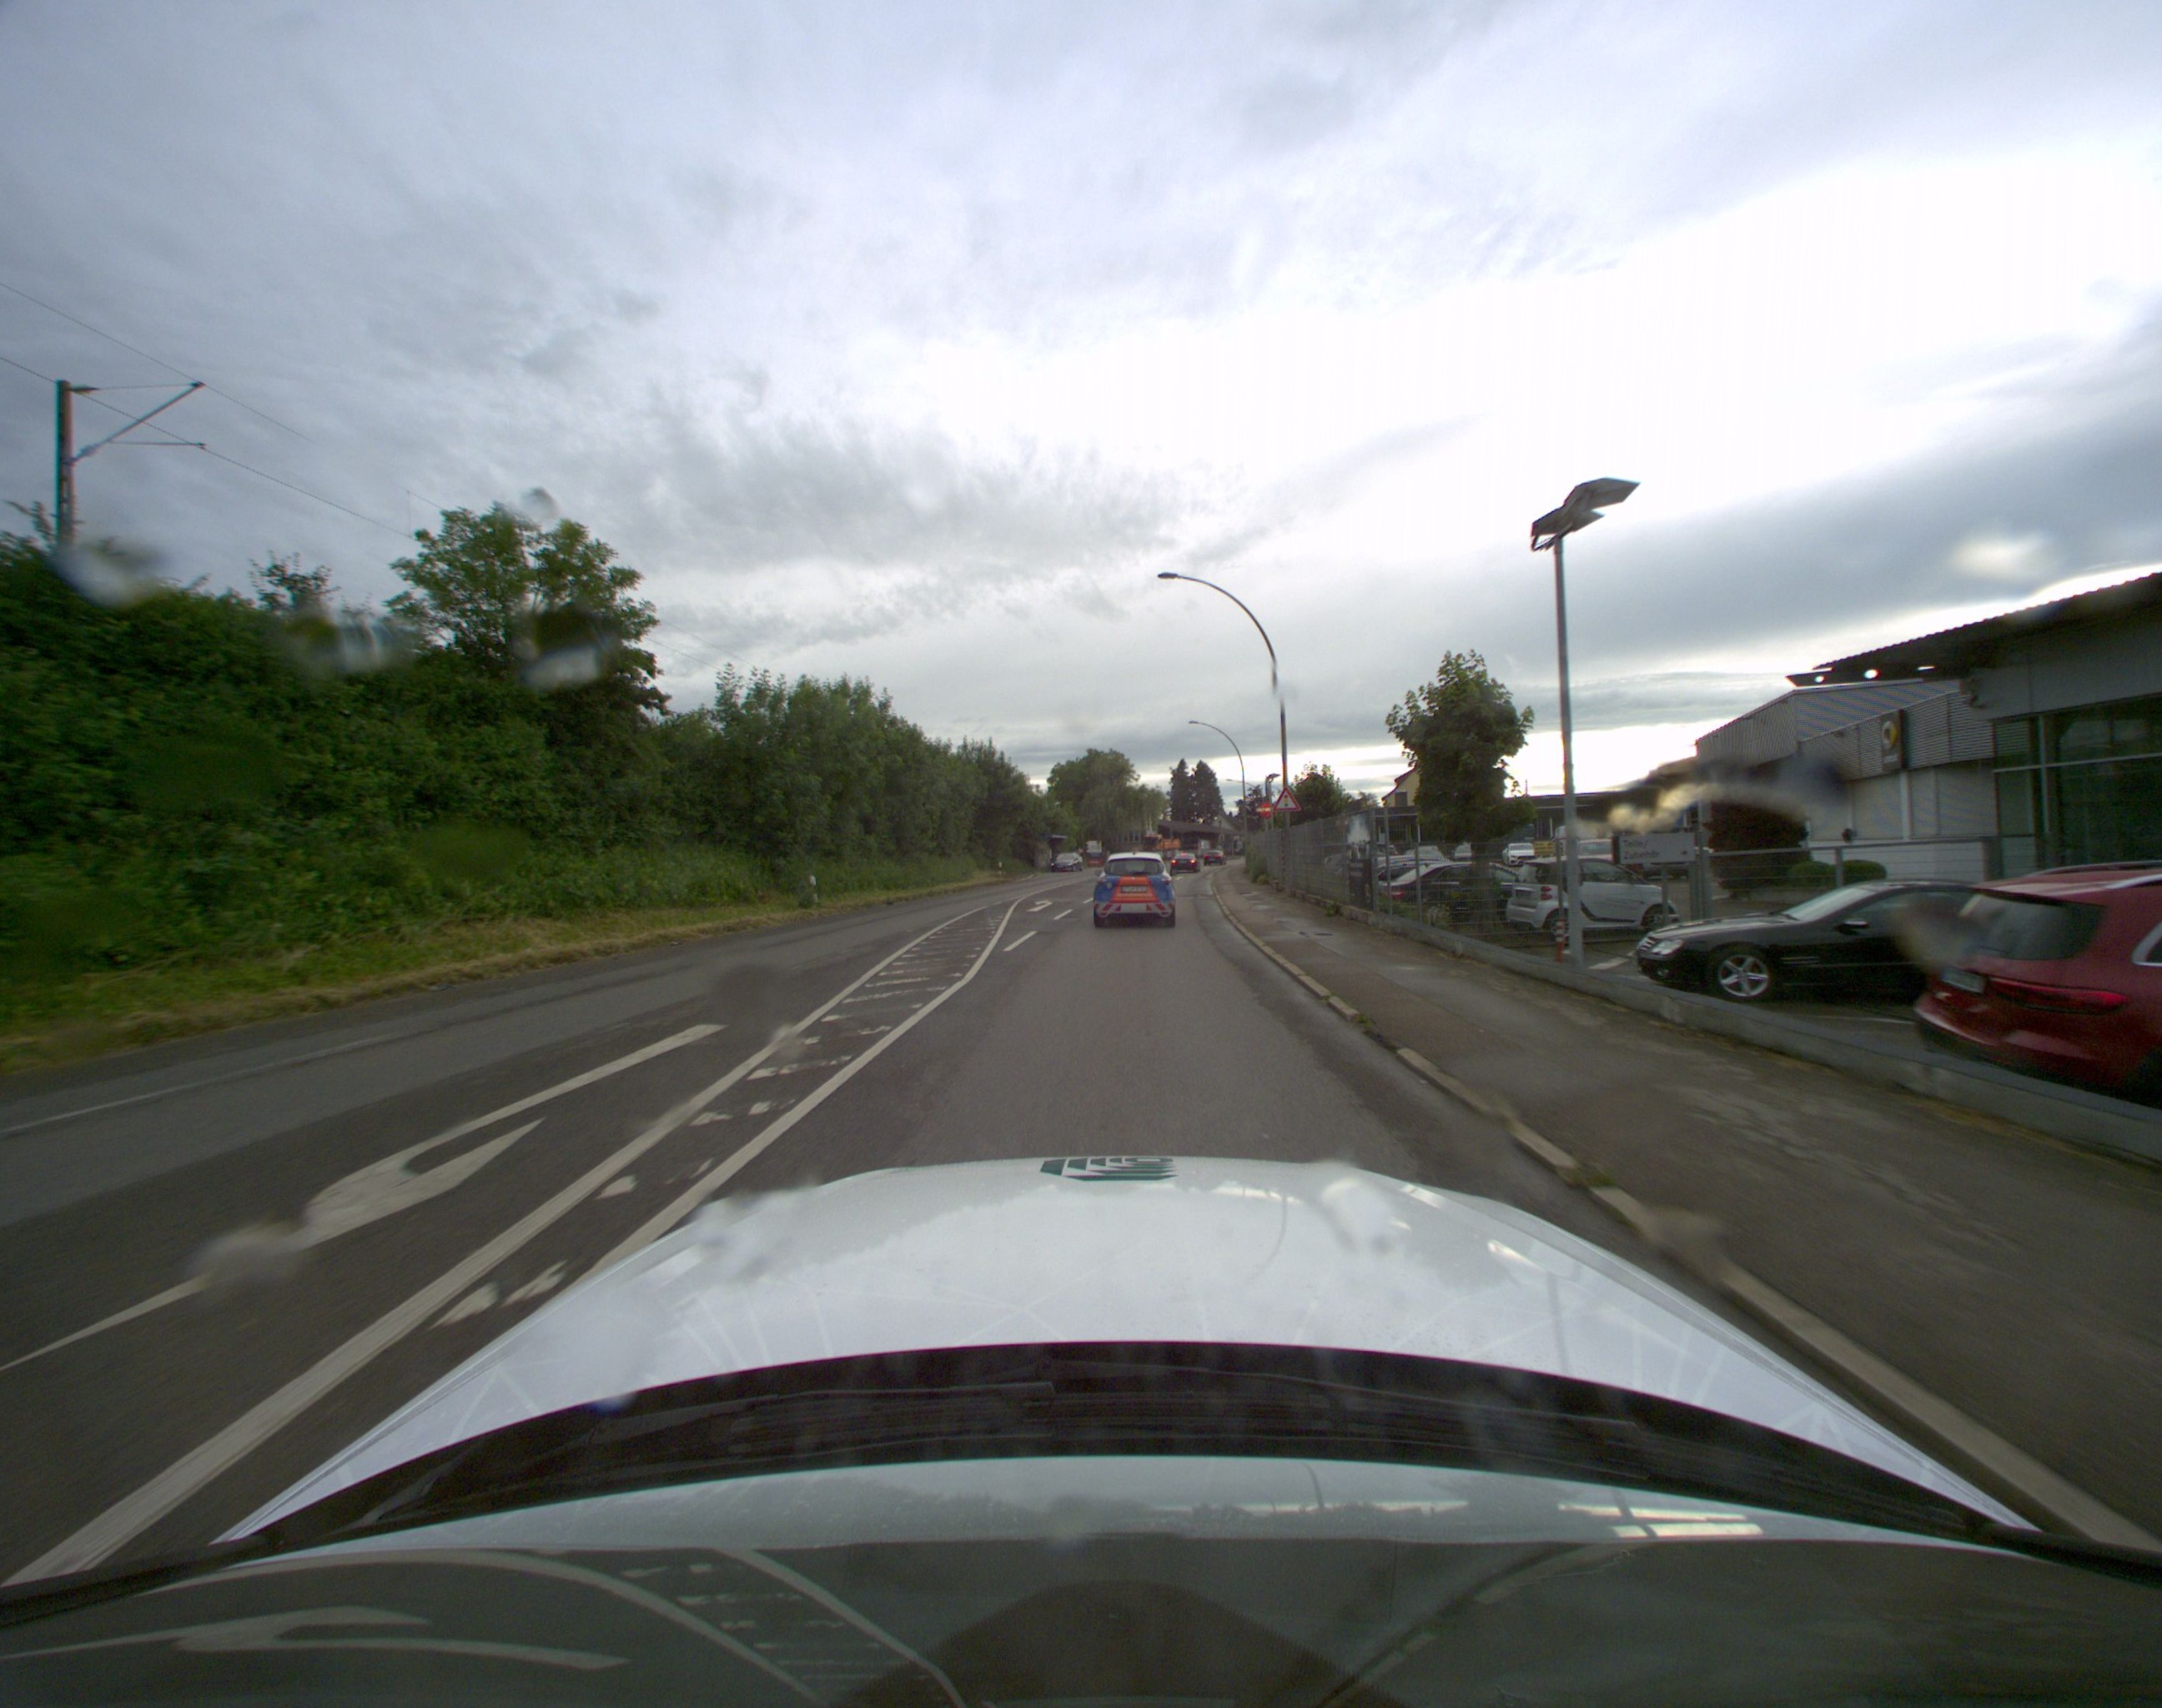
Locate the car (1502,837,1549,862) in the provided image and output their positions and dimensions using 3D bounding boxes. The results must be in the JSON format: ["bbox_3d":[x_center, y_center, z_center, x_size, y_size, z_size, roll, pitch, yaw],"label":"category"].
[{"bbox_3d":[27.591,-0.275,50.693,1.875,1.420,4.487,1,-1,19],"label":"car"}]

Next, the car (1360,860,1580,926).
[{"bbox_3d":[8.709,0.852,18.550,4.089,1.370,2.002,0,-1,4],"label":"car"}]

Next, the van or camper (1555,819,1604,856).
[{"bbox_3d":[29.365,-0.924,48.127,1.975,1.938,5.462,0,-1,26],"label":"van or camper"}]

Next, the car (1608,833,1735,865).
[{"bbox_3d":[27.426,-0.202,38.037,4.592,1.400,1.730,0,-1,28],"label":"car"}]

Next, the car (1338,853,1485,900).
[{"bbox_3d":[10.302,0.695,25.670,3.964,1.404,2.005,0,-1,9],"label":"car"}]

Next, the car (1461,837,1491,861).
[{"bbox_3d":[27.530,-0.367,56.864,1.623,1.571,3.414,-3,0,22],"label":"car"}]

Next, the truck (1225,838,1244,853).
[{"bbox_3d":[30.755,-1.653,162.864,2.373,2.927,5.990,0,0,23],"label":"truck"}]

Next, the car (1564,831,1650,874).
[{"bbox_3d":[18.733,-0.008,29.181,1.976,1.420,4.022,0,-1,24],"label":"car"}]

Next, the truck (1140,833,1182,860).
[{"bbox_3d":[11.131,-0.961,112.222,2.673,3.412,9.124,0,-1,26],"label":"truck"}]

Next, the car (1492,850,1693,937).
[{"bbox_3d":[9.979,0.755,16.110,2.705,1.445,2.003,-4,-2,5],"label":"car"}]

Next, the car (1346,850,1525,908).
[{"bbox_3d":[9.098,0.644,21.103,3.972,1.408,1.594,0,-1,1],"label":"car"}]

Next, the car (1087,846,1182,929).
[{"bbox_3d":[1.239,0.663,18.309,1.880,1.632,4.006,-1,0,5],"label":"car"}]

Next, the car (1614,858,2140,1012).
[{"bbox_3d":[8.870,0.838,9.671,4.111,1.441,1.822,-2,0,30],"label":"car"}]

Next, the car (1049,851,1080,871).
[{"bbox_3d":[-1.259,0.550,63.509,1.985,1.474,4.705,0,-1,4],"label":"car"}]

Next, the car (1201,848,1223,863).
[{"bbox_3d":[12.734,0.173,79.199,1.981,1.420,4.012,0,-1,11],"label":"car"}]

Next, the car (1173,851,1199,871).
[{"bbox_3d":[7.426,0.519,57.392,1.710,1.376,3.944,0,-1,10],"label":"car"}]

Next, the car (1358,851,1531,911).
[{"bbox_3d":[10.299,0.750,23.362,4.150,1.598,1.973,0,-1,7],"label":"car"}]

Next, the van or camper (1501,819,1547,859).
[{"bbox_3d":[30.702,-1.043,56.611,2.311,2.557,5.773,-3,0,24],"label":"van or camper"}]

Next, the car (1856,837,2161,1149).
[{"bbox_3d":[7.668,0.777,4.441,4.638,1.662,2.012,1,-1,29],"label":"car"}]

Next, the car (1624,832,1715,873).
[{"bbox_3d":[21.841,-0.032,30.408,1.976,1.420,4.022,0,-1,24],"label":"car"}]

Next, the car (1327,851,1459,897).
[{"bbox_3d":[10.720,0.683,28.252,3.964,1.434,1.830,-2,0,8],"label":"car"}]

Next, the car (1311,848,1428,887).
[{"bbox_3d":[10.700,0.490,30.505,3.959,1.404,1.795,0,-1,13],"label":"car"}]
